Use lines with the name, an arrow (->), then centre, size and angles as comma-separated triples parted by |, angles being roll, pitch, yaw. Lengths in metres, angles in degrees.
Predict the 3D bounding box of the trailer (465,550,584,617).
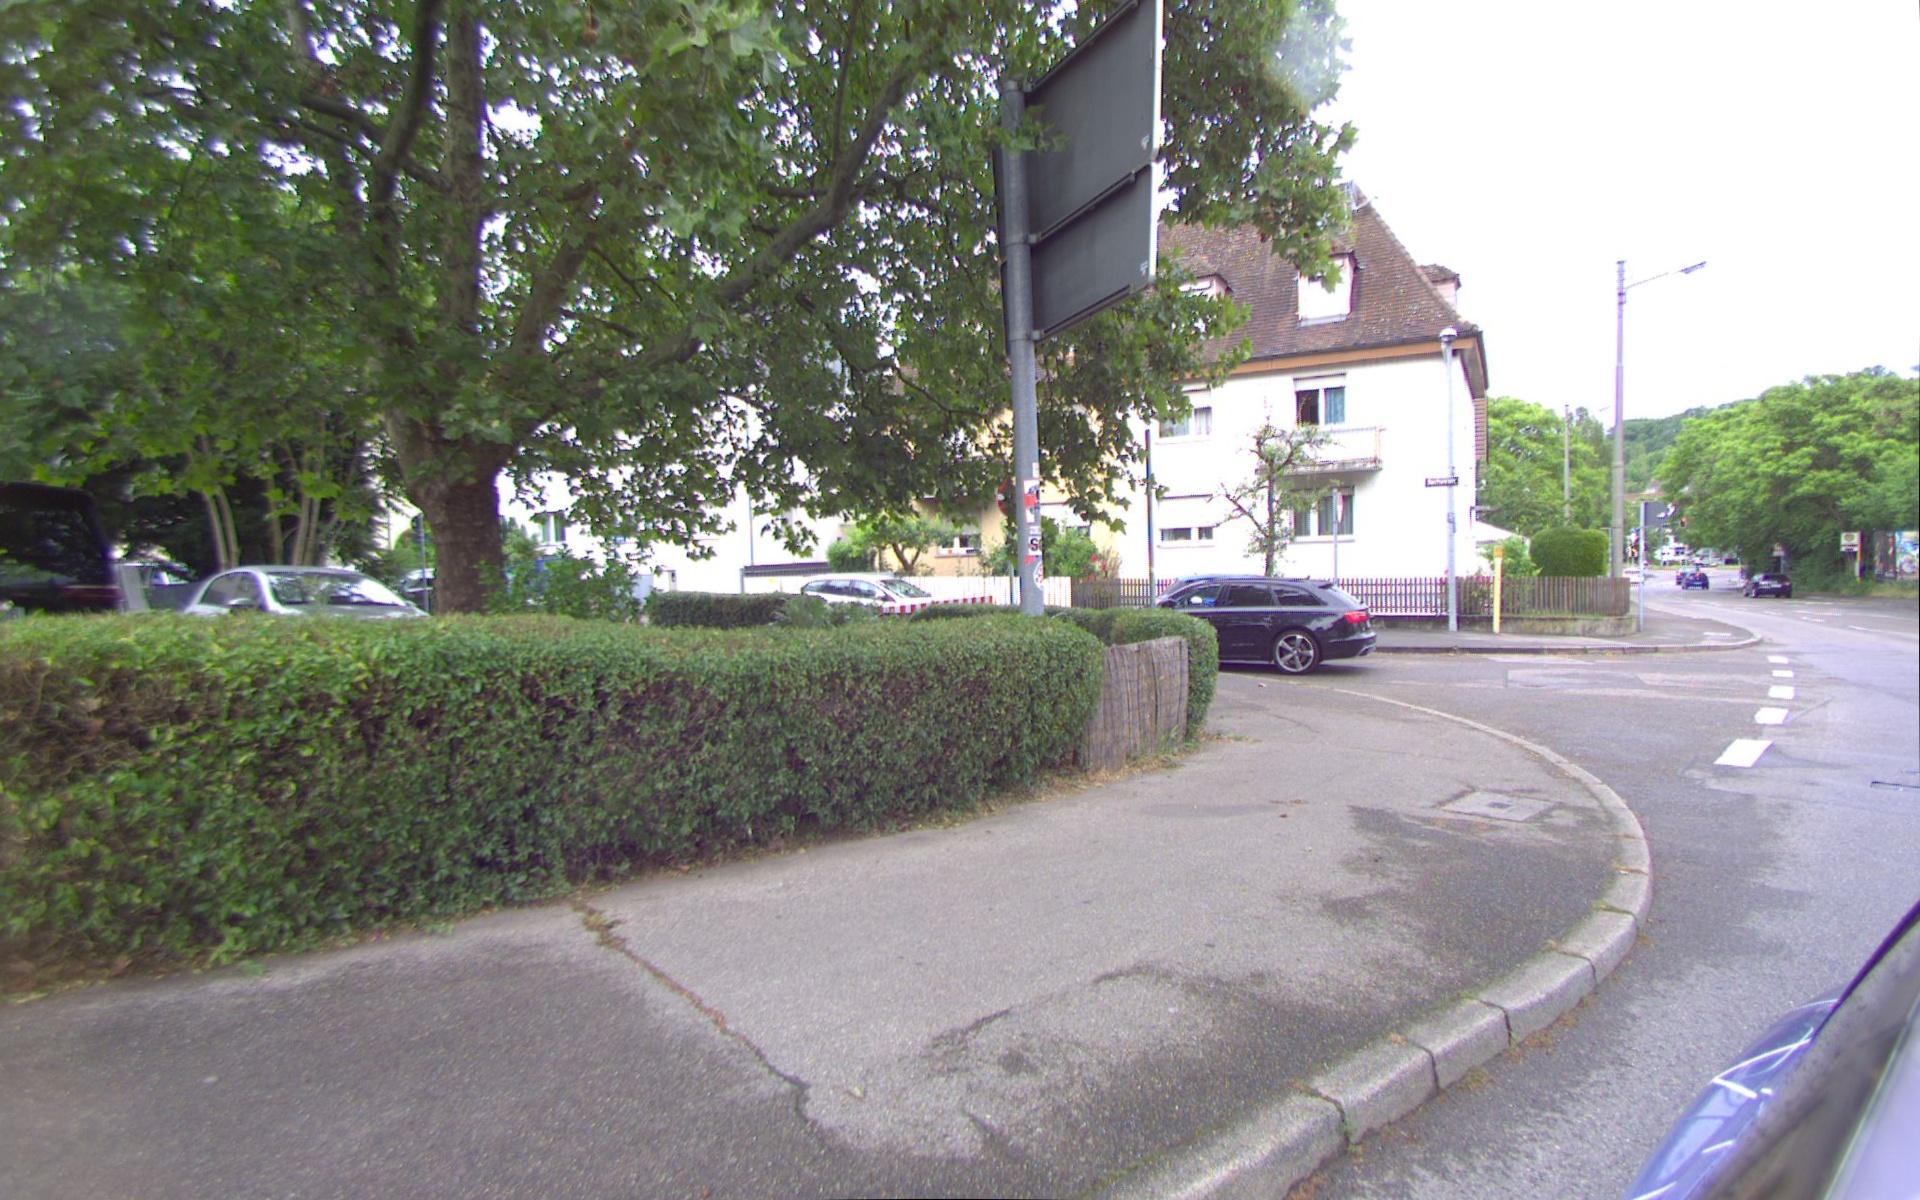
trailer -> -13.931, -0.550, 32.372 | 3.456, 2.038, 1.657 | 1, 1, 26

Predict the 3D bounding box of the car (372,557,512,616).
car -> -17.513, -0.492, 34.179 | 4.535, 1.862, 1.982 | 1, 2, 28

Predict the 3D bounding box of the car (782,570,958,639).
car -> -2.088, 0.061, 23.401 | 3.752, 1.471, 1.754 | 1, 1, 30

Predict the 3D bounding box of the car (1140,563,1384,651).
car -> 5.682, 0.056, 19.152 | 4.095, 1.498, 1.865 | 1, 2, 32

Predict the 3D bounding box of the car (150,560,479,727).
car -> -7.451, 0.365, 11.580 | 3.974, 1.599, 1.800 | 1, 2, 35

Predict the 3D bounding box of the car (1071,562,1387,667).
car -> 4.367, 0.151, 16.547 | 4.768, 1.498, 1.870 | 1, 2, 25

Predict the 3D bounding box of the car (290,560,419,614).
car -> -22.082, -0.504, 36.894 | 4.535, 1.862, 1.982 | 1, 2, 28

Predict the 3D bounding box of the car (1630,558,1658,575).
car -> 66.107, -3.229, 97.861 | 1.821, 1.598, 4.291 | -1, 1, 29

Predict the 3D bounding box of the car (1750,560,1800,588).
car -> 48.063, -1.532, 59.753 | 1.835, 1.588, 4.360 | 1, 1, 34

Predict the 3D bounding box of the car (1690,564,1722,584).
car -> 60.665, -2.116, 82.364 | 1.589, 1.442, 3.662 | 2, 5, 29

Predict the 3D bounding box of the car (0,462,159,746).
car -> -8.542, 0.003, 7.983 | 4.376, 1.956, 1.980 | 1, 2, 29

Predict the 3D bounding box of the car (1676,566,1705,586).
car -> 73.311, -2.462, 101.625 | 1.948, 1.955, 4.632 | 1, 2, 31
